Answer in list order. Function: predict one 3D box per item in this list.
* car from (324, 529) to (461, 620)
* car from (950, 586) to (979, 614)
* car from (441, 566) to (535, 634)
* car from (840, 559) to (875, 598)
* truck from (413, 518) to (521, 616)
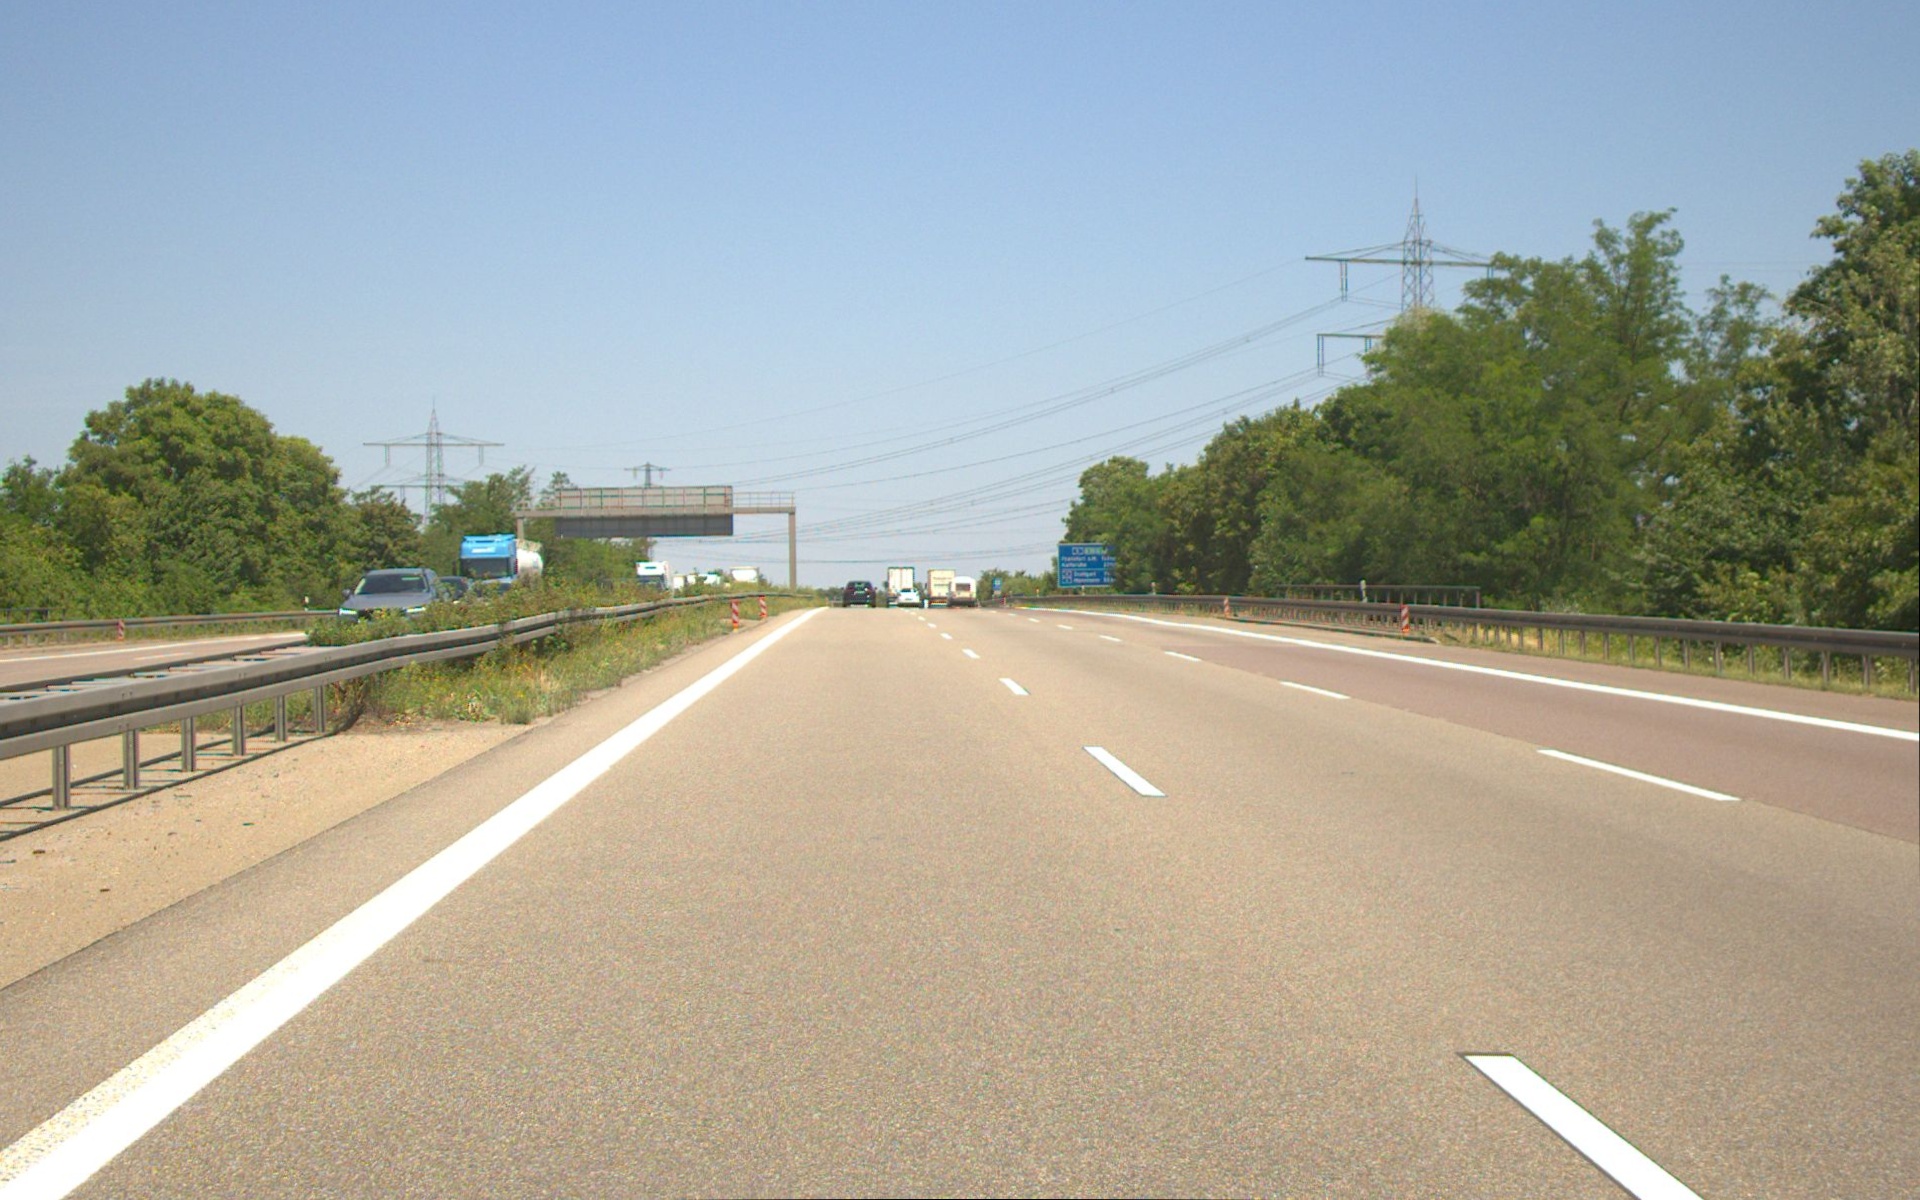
[{"bbox_3d":[-11.383,-0.523,69.254,1.993,1.724,5.108,-1,1,-1],"label":"car"},{"bbox_3d":[0.322,-0.022,255.358,1.993,2.007,4.000,-1,0,-2],"label":"car"},{"bbox_3d":[-12.550,-0.013,91.627,1.993,1.724,4.093,-1,1,-1],"label":"car"},{"bbox_3d":[-5.420,-1.124,182.443,1.791,2.007,3.888,1,0,-1],"label":"car"},{"bbox_3d":[-21.441,-1.390,150.341,2.728,4.039,15.937,-1,0,-1],"label":"truck"}]
